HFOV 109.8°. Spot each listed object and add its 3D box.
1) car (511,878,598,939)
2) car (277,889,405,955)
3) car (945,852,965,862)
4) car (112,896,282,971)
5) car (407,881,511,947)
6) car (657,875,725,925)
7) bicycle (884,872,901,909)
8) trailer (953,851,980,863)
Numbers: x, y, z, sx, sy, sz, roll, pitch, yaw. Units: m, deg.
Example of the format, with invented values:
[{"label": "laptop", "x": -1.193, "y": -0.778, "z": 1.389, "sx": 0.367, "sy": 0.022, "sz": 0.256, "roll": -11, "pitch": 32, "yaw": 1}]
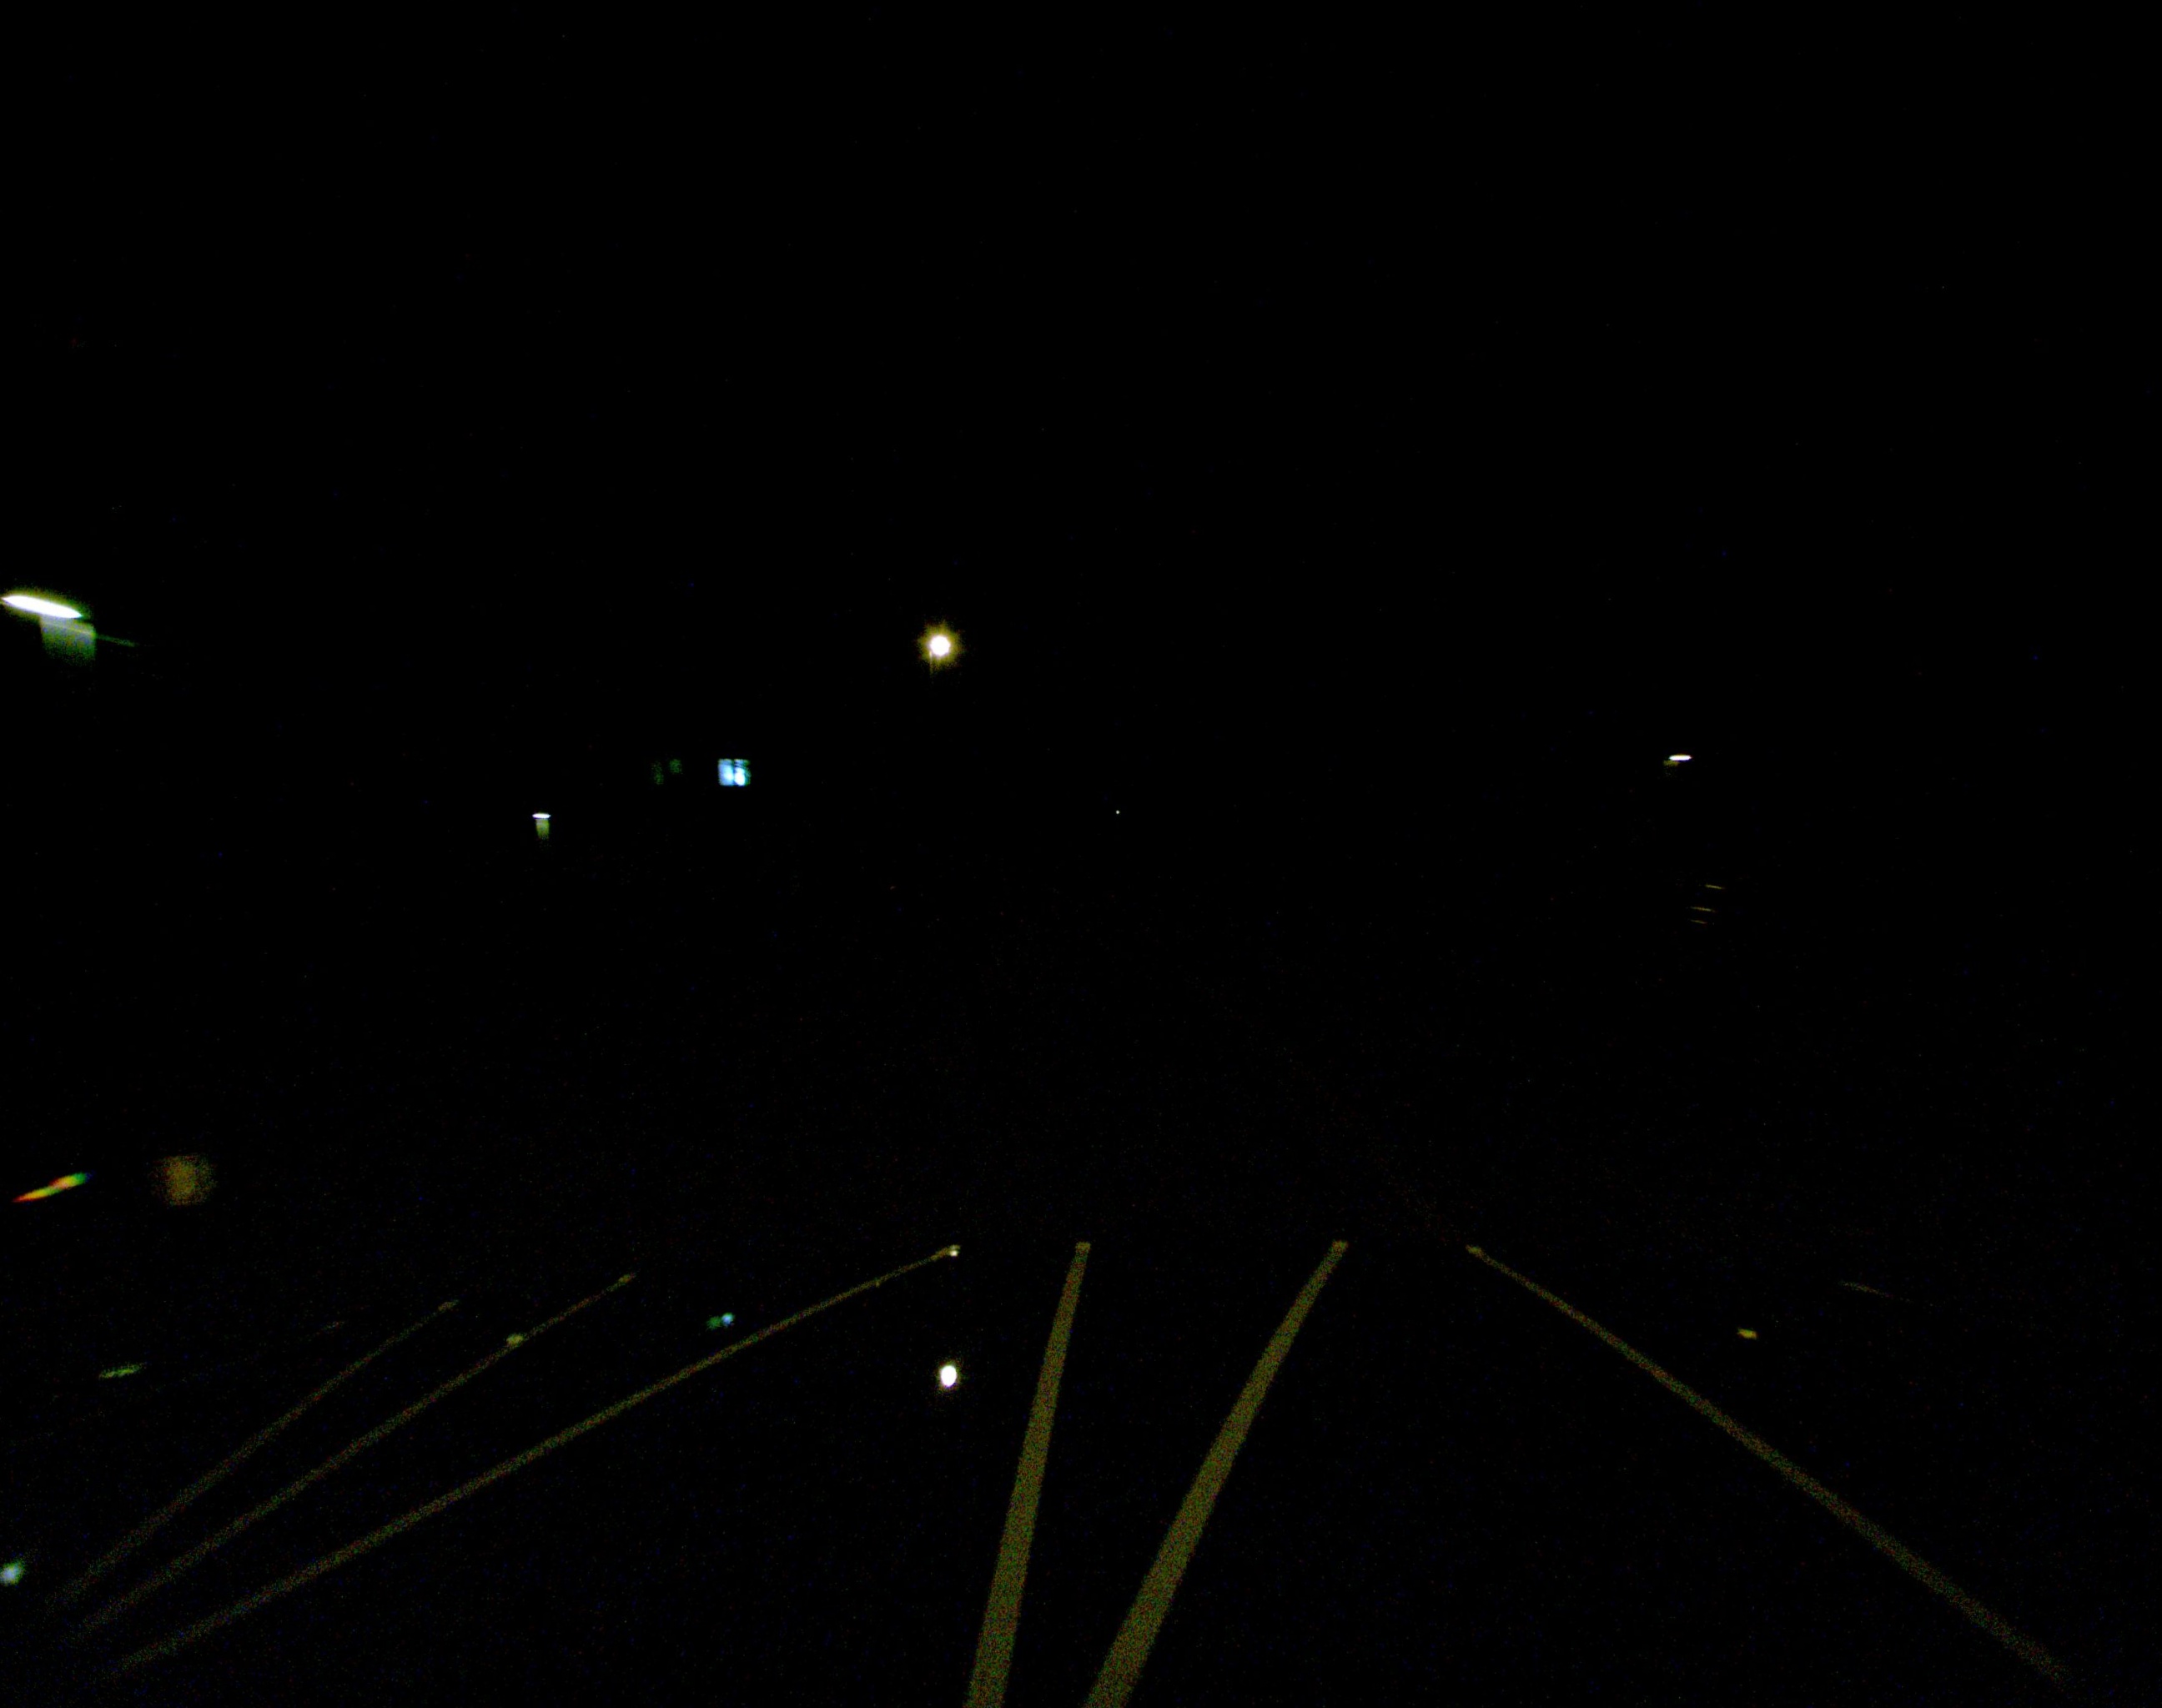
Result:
[{"label": "car", "x": -16.184, "y": 1.599, "z": 23.569, "sx": 1.926, "sy": 1.555, "sz": 4.402, "roll": -4, "pitch": 1, "yaw": -32}, {"label": "car", "x": -20.687, "y": 1.818, "z": 21.427, "sx": 1.765, "sy": 1.506, "sz": 3.861, "roll": -3, "pitch": 0, "yaw": -32}, {"label": "car", "x": -19.452, "y": 0.469, "z": 117.169, "sx": 1.725, "sy": 1.568, "sz": 4.524, "roll": 0, "pitch": 1, "yaw": -29}, {"label": "car", "x": -22.818, "y": 1.968, "z": 19.814, "sx": 1.765, "sy": 1.535, "sz": 3.861, "roll": -3, "pitch": 0, "yaw": -32}, {"label": "car", "x": -18.335, "y": 1.692, "z": 22.589, "sx": 1.816, "sy": 1.606, "sz": 4.089, "roll": -4, "pitch": 1, "yaw": -32}, {"label": "car", "x": -13.483, "y": 1.512, "z": 26.167, "sx": 1.710, "sy": 1.496, "sz": 3.584, "roll": -4, "pitch": 1, "yaw": -32}, {"label": "bicycle", "x": -5.969, "y": 1.138, "z": 24.132, "sx": 0.296, "sy": 0.977, "sz": 1.942, "roll": -2, "pitch": 3, "yaw": -8}, {"label": "trailer", "x": -16.996, "y": 0.429, "z": 112.689, "sx": 2.034, "sy": 1.770, "sz": 5.660, "roll": -1, "pitch": 1, "yaw": -29}]
